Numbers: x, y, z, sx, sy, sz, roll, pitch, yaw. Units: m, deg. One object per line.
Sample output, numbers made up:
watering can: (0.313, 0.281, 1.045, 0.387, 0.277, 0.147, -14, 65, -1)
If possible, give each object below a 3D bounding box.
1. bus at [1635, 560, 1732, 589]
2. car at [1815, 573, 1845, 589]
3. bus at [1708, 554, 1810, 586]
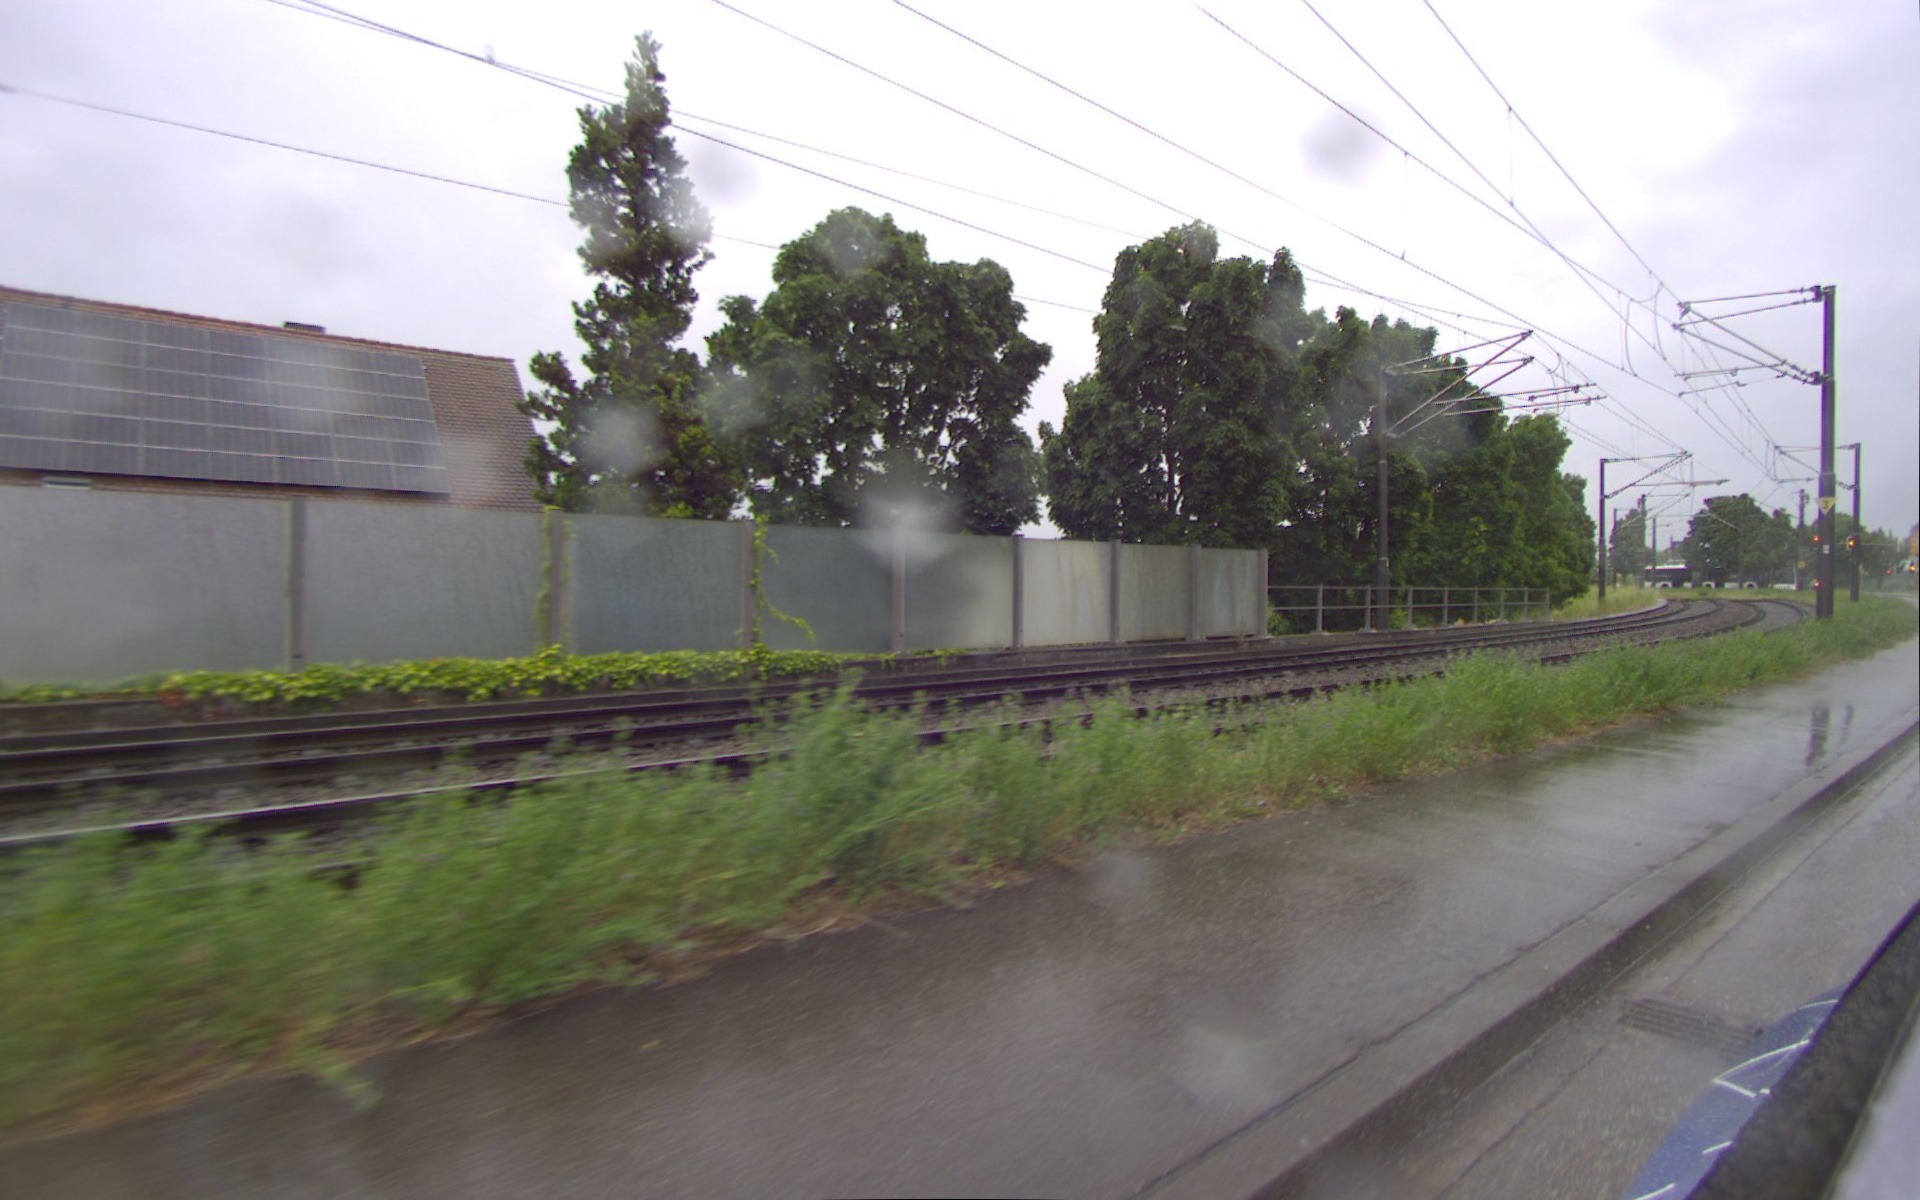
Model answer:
bus: (82.096, -2.894, 115.133, 2.623, 3.115, 10.012, -1, 1, -9)
car: (91.507, -2.035, 106.441, 1.754, 1.556, 3.835, 2, 2, 31)
bus: (82.833, -3.090, 105.200, 2.627, 3.115, 9.996, -1, 1, 0)
